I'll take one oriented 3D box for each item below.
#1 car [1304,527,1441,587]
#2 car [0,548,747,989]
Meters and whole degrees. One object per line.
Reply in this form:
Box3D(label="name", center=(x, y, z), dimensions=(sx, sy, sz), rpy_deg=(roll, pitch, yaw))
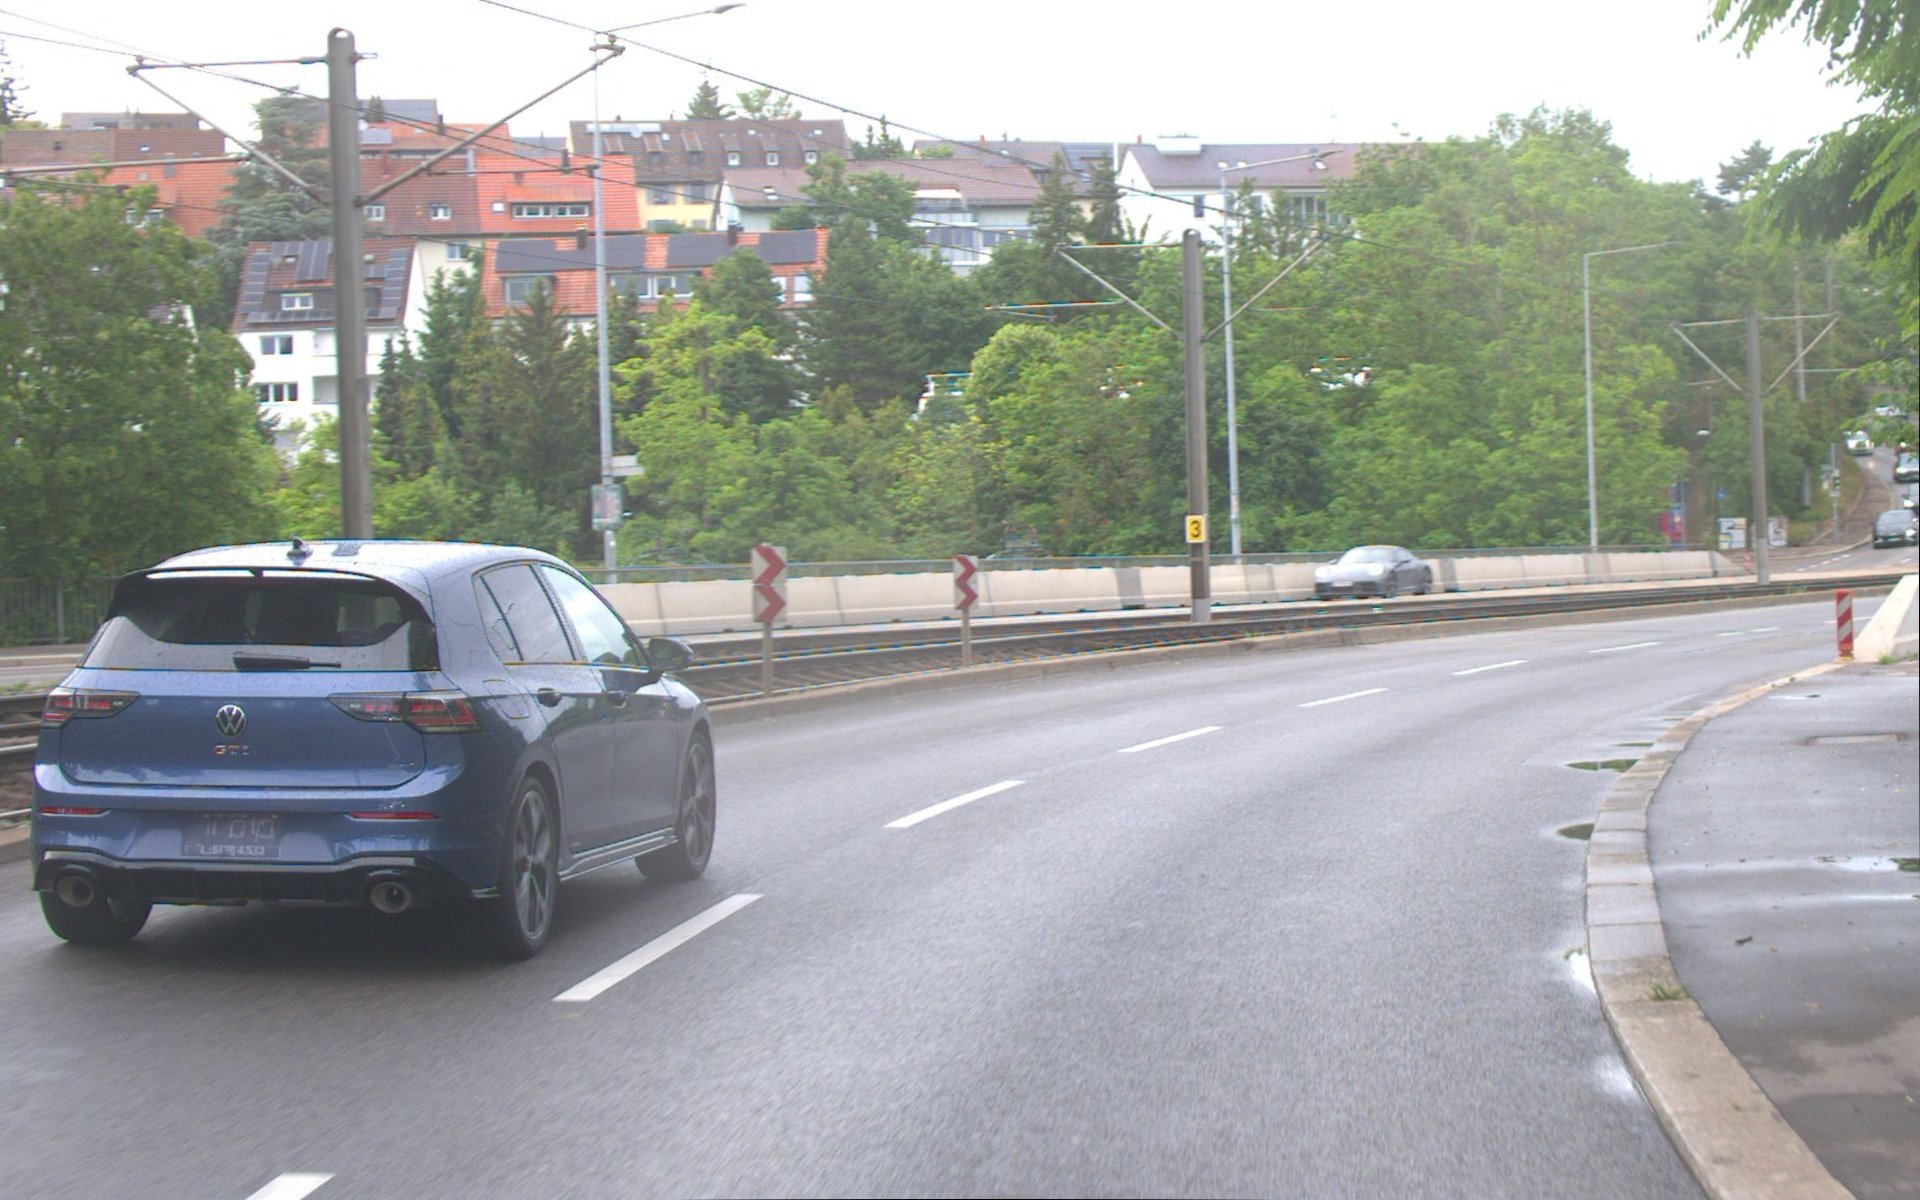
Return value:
Box3D(label="car", center=(10.012, -1.054, 83.252), dimensions=(1.996, 1.361, 4.185), rpy_deg=(0, 2, 27))
Box3D(label="car", center=(-2.183, 0.513, 13.429), dimensions=(1.809, 1.374, 4.346), rpy_deg=(1, 1, 9))
